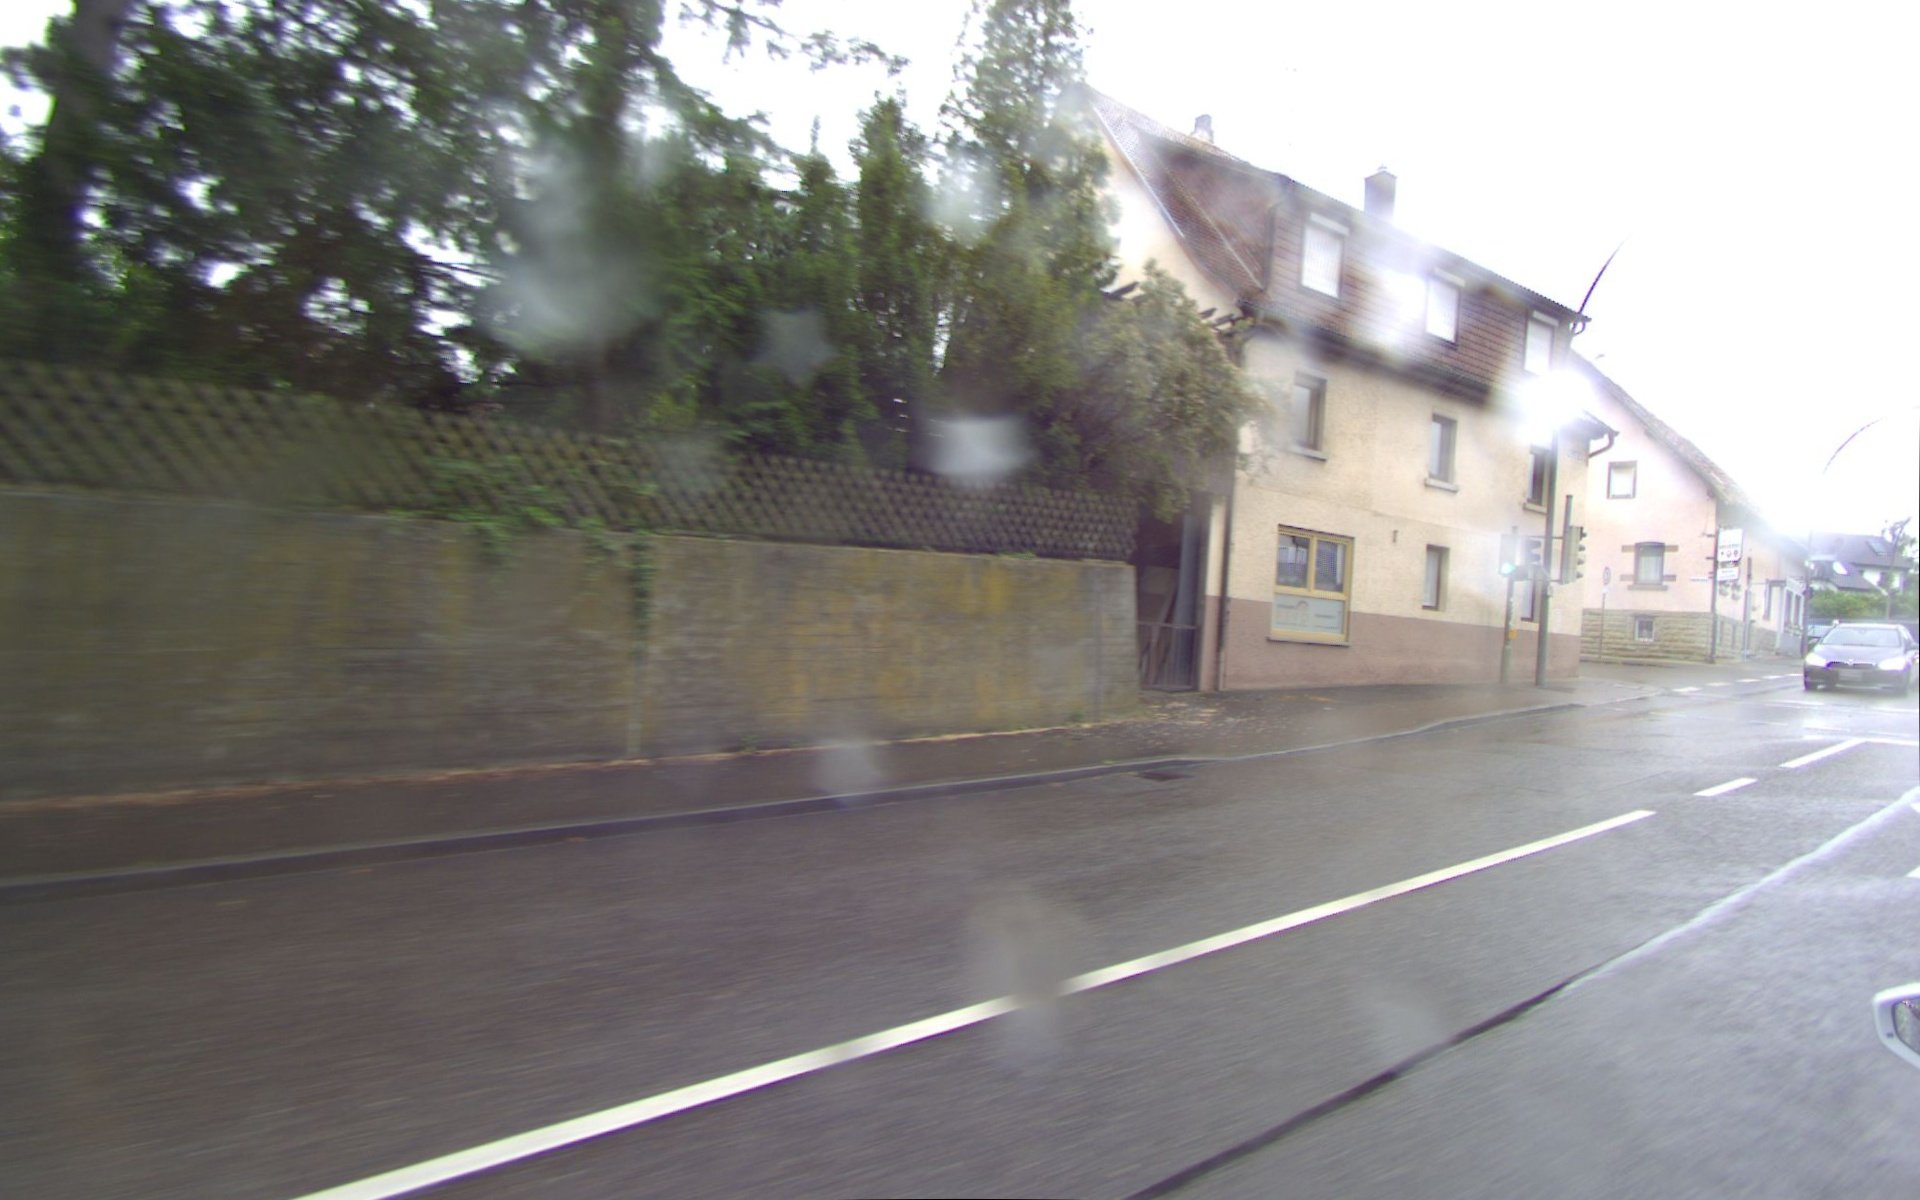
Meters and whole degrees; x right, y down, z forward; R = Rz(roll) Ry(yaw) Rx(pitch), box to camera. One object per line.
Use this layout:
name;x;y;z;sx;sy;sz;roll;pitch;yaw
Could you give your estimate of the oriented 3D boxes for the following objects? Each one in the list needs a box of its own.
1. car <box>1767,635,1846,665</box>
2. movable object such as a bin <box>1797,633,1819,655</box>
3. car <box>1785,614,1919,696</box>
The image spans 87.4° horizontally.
car;46.862;2.753;55.598;3.776;1.461;1.895;2;2;-25
movable object such as a bin;43.016;2.235;50.951;0.665;1.046;0.635;2;-1;-29
car;21.184;1.249;23.722;3.969;1.728;1.976;2;-1;-41
